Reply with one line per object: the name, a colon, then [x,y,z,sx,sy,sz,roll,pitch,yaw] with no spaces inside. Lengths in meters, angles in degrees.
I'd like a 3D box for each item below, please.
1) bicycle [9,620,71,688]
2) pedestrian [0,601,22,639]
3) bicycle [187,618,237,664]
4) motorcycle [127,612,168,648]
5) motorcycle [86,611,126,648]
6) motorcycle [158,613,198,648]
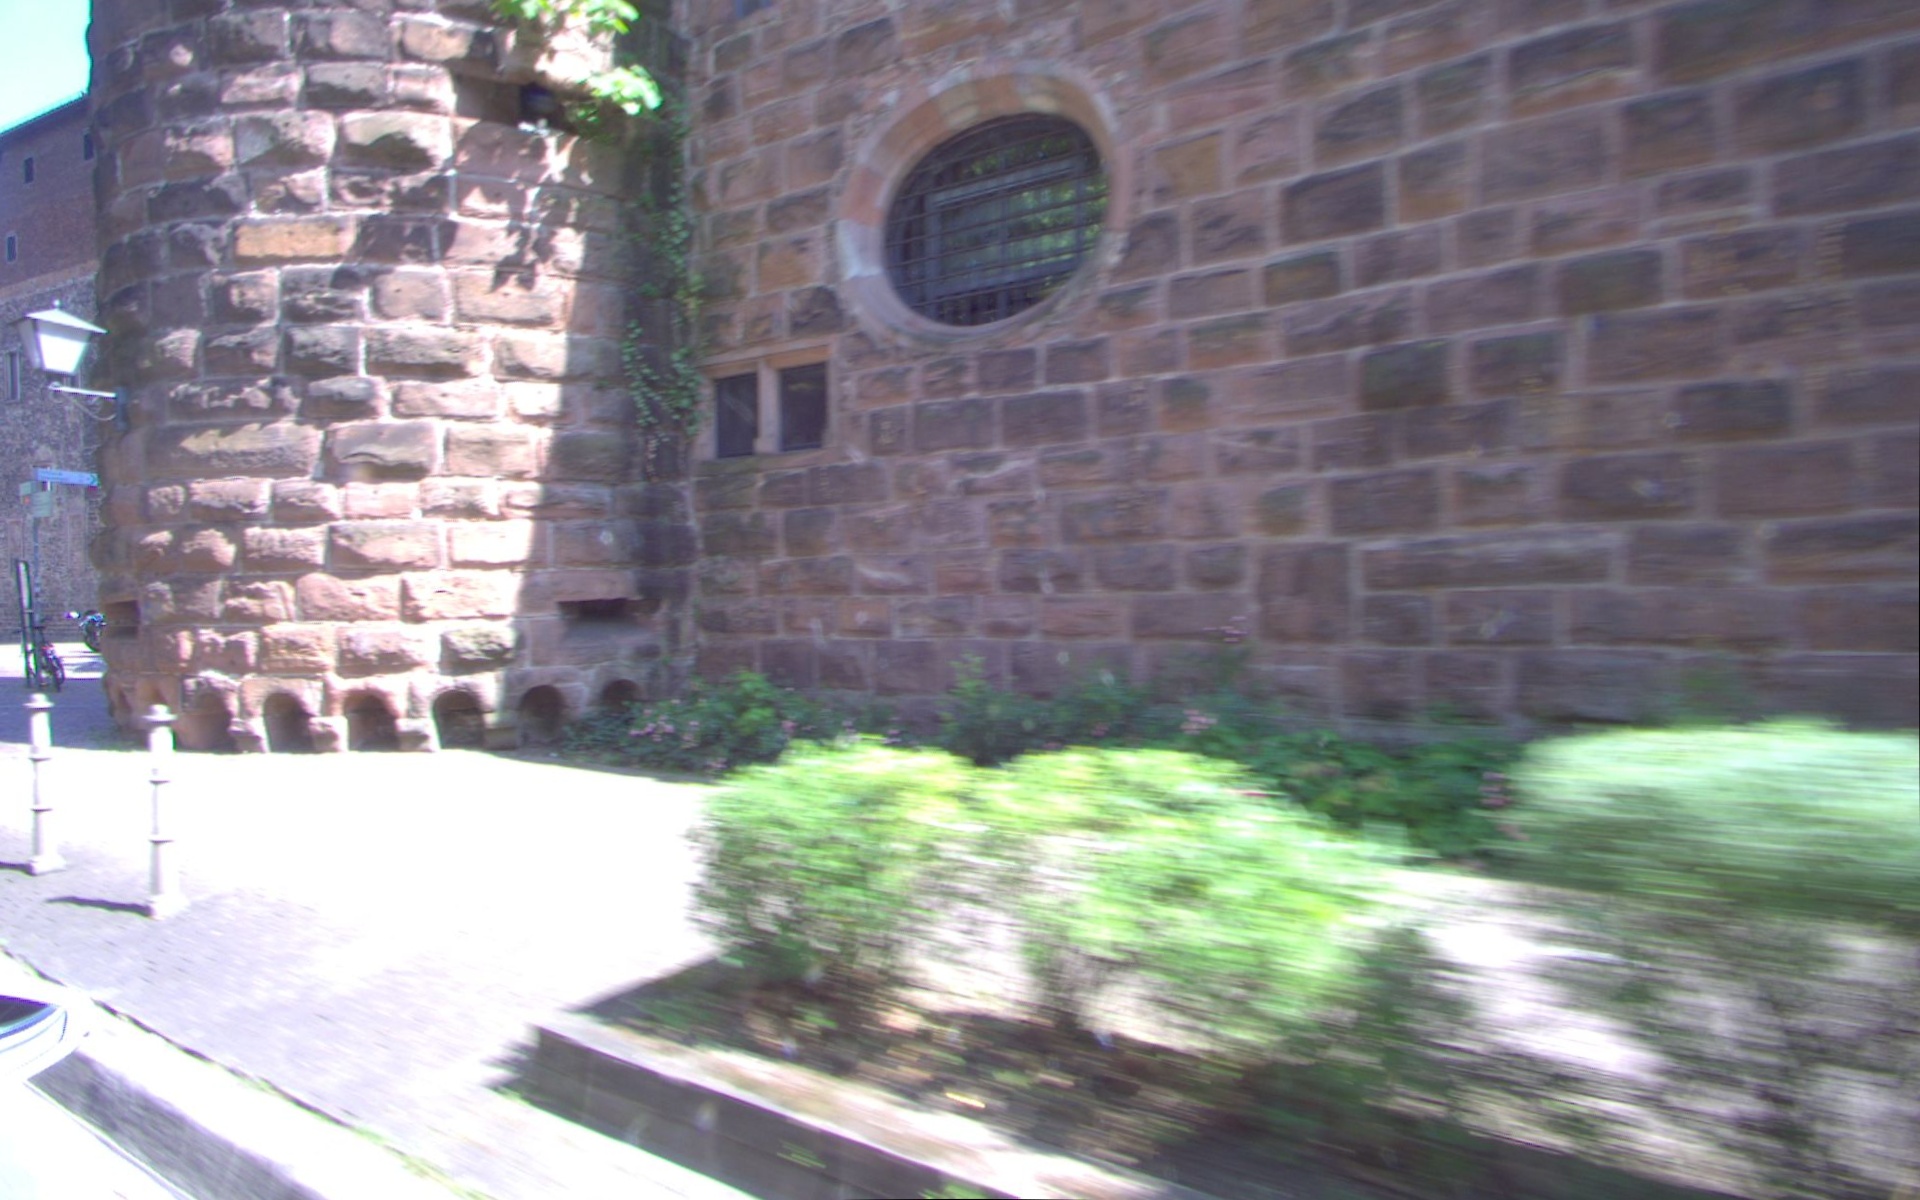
bicycle: [-14.984,0.854,16.299,2.027,1.044,0.493,-1,0,41]
pedestrian: [-38.570,0.809,40.605,0.618,1.537,0.656,0,-2,34]
bicycle: [-17.637,0.965,23.602,2.027,1.043,0.494,-1,-2,41]
motorcycle: [-22.587,0.843,27.834,1.446,0.985,0.457,-1,-2,33]
motorcycle: [-23.237,0.813,27.247,1.339,0.985,0.435,0,-2,33]
motorcycle: [-22.549,0.882,28.876,1.446,0.985,0.457,-1,-2,33]
